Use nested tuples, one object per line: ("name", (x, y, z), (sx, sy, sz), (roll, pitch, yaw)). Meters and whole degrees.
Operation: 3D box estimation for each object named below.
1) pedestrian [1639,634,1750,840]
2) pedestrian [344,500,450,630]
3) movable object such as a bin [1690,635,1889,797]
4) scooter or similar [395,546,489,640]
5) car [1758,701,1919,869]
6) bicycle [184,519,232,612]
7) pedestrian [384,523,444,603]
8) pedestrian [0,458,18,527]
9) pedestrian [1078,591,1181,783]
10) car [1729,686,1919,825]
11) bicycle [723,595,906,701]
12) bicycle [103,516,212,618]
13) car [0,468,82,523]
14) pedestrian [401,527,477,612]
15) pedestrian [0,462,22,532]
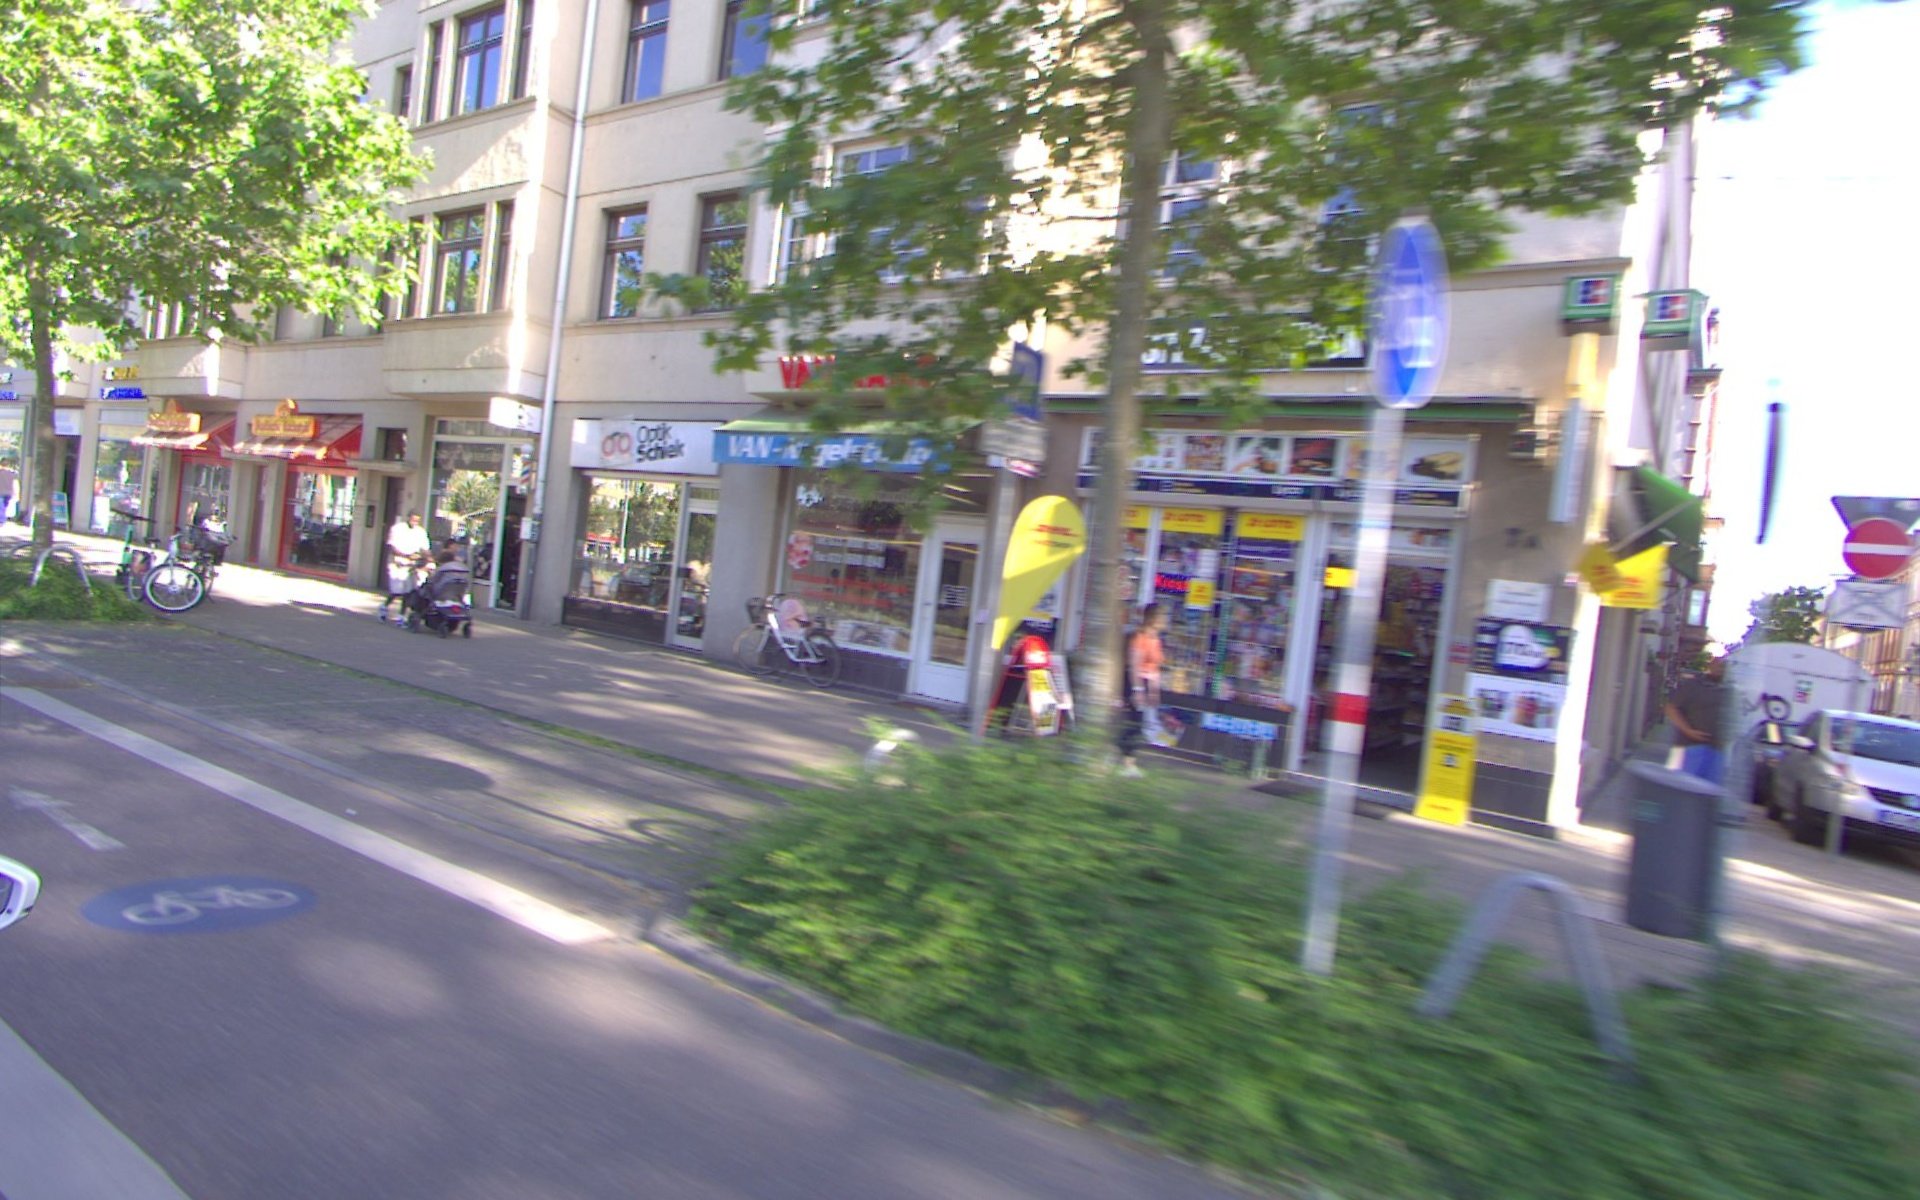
("pedestrian", (7.325, 1.345, 10.060), (0.577, 1.926, 0.553), (7, 0, 21))
("pedestrian", (-8.024, -0.487, 14.340), (0.901, 1.727, 0.860), (7, 2, 29))
("movable object such as a bin", (15.886, 2.143, 19.533), (2.504, 2.577, 3.777), (5, -1, 35))
("scooter or similar", (-7.145, -0.094, 13.888), (0.834, 1.187, 0.745), (7, 3, 29))
("car", (10.610, 2.060, 11.737), (1.640, 1.492, 3.940), (7, 0, 35))
("bicycle", (-10.940, -0.530, 14.615), (0.384, 1.222, 1.852), (6, 1, -39))
("pedestrian", (-9.937, -0.668, 18.308), (0.807, 1.350, 0.535), (7, 2, 32))
("pedestrian", (-27.527, -3.100, 28.660), (0.849, 1.924, 0.714), (7, 2, 32))
("pedestrian", (1.563, 0.790, 9.247), (0.553, 1.641, 0.683), (7, 1, 29))
("car", (13.367, 2.282, 15.710), (1.815, 1.616, 3.987), (7, 0, 35))
("bicycle", (-1.939, 0.584, 13.075), (2.579, 1.038, 0.490), (7, 4, 32))
("bicycle", (-10.903, -0.466, 13.648), (1.870, 1.231, 0.392), (6, 2, 28))
("car", (-39.299, -4.445, 41.406), (1.962, 1.810, 4.305), (6, -1, 31))
("pedestrian", (-9.225, -0.535, 17.827), (0.843, 1.387, 0.785), (7, 2, 32))
("pedestrian", (-24.804, -2.687, 25.991), (0.757, 1.732, 0.558), (7, 1, 32))
